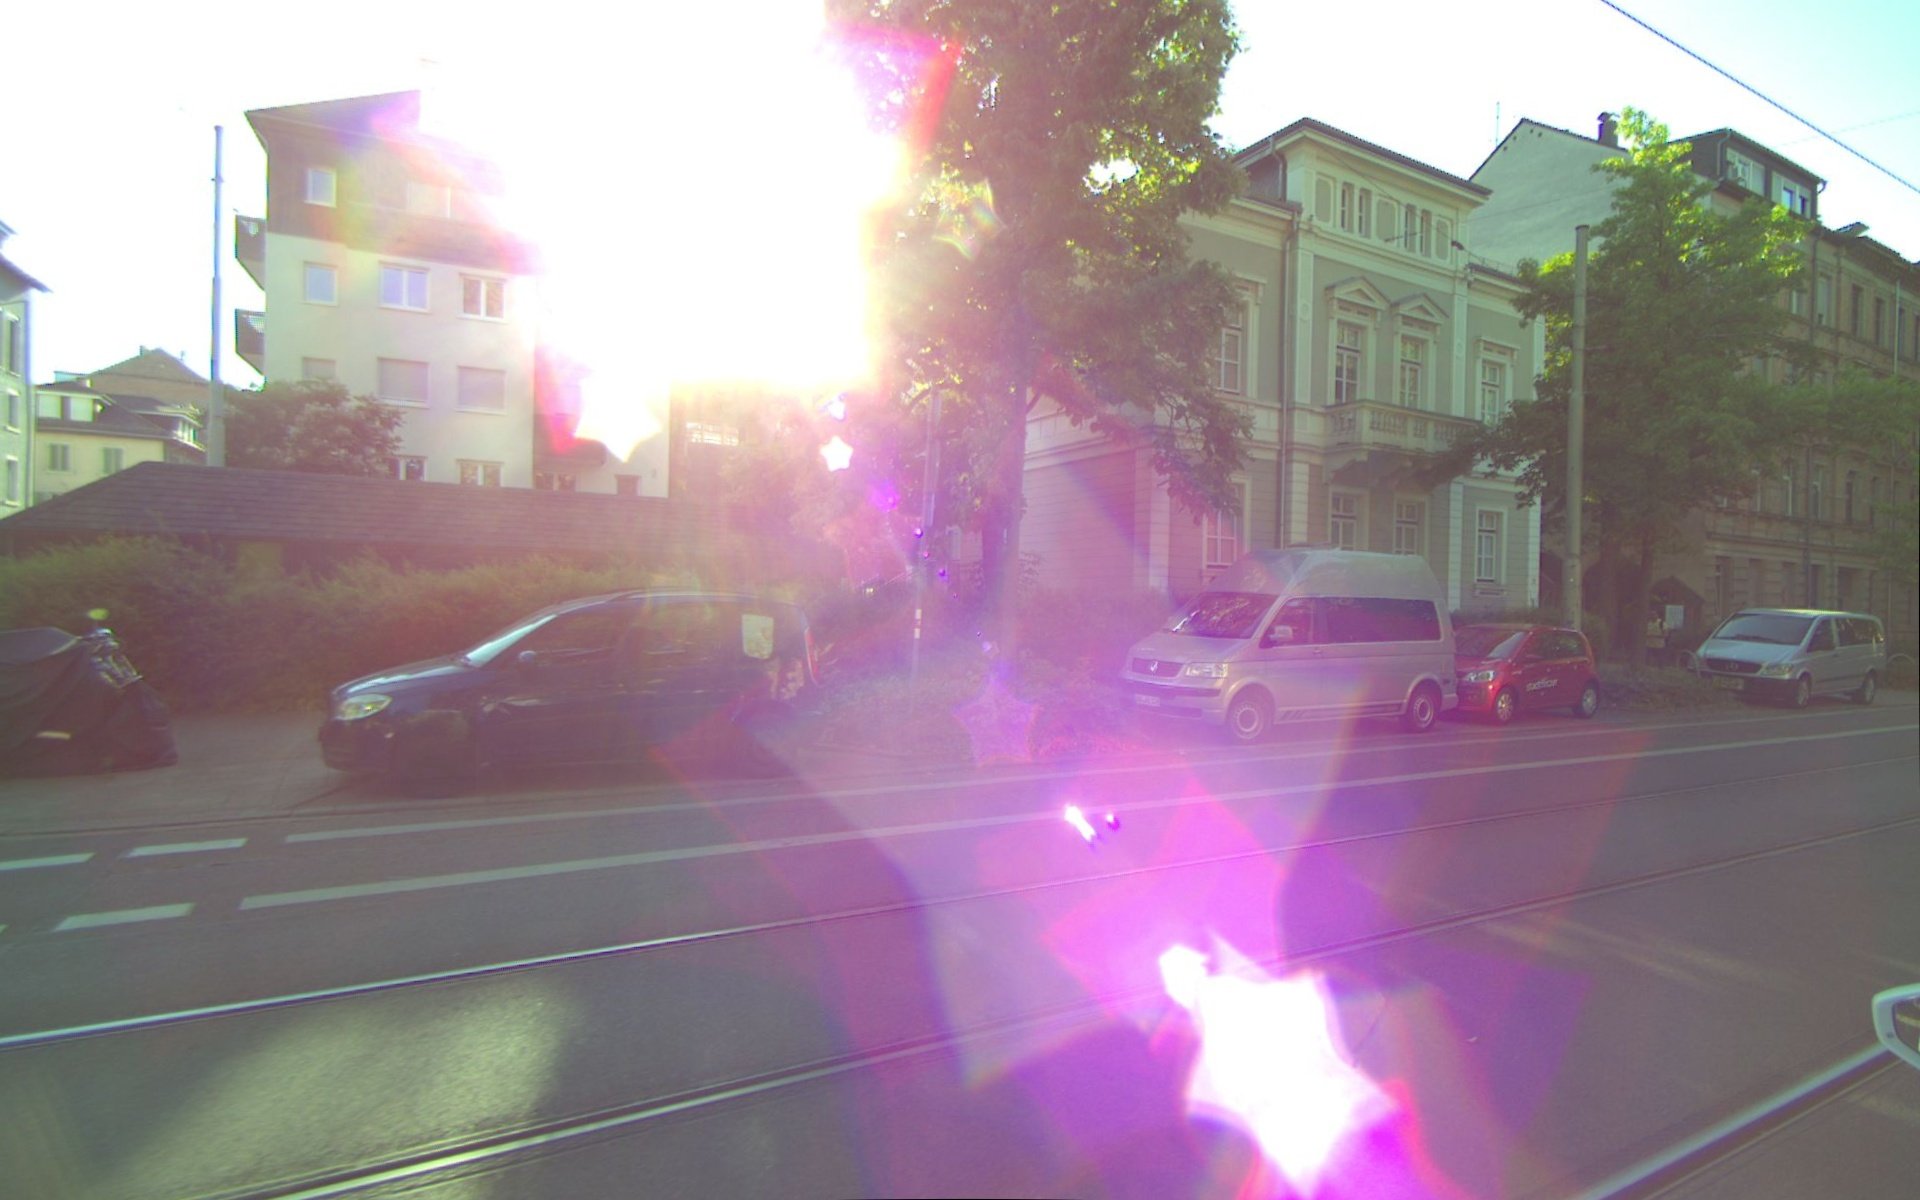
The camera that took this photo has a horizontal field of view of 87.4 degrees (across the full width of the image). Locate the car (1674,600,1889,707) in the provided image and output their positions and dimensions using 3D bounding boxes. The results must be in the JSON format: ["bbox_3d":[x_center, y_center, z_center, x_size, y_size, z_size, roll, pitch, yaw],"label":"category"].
[{"bbox_3d":[17.201,1.067,20.974,4.928,2.015,1.835,1,-1,-30],"label":"car"}]

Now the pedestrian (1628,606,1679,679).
[{"bbox_3d":[16.411,0.993,23.764,0.936,1.684,0.602,1,1,-29],"label":"pedestrian"}]

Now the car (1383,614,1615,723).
[{"bbox_3d":[8.761,1.043,16.284,3.665,1.560,1.676,1,-1,-31],"label":"car"}]

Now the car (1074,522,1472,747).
[{"bbox_3d":[4.358,0.446,13.707,5.284,2.541,2.291,1,-1,-32],"label":"car"}]

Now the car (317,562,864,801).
[{"bbox_3d":[-3.199,0.632,9.096,4.208,1.712,1.985,1,-1,-28],"label":"car"}]

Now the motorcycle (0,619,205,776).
[{"bbox_3d":[-7.489,0.770,8.107,2.122,1.155,0.670,-1,3,-28],"label":"motorcycle"}]
